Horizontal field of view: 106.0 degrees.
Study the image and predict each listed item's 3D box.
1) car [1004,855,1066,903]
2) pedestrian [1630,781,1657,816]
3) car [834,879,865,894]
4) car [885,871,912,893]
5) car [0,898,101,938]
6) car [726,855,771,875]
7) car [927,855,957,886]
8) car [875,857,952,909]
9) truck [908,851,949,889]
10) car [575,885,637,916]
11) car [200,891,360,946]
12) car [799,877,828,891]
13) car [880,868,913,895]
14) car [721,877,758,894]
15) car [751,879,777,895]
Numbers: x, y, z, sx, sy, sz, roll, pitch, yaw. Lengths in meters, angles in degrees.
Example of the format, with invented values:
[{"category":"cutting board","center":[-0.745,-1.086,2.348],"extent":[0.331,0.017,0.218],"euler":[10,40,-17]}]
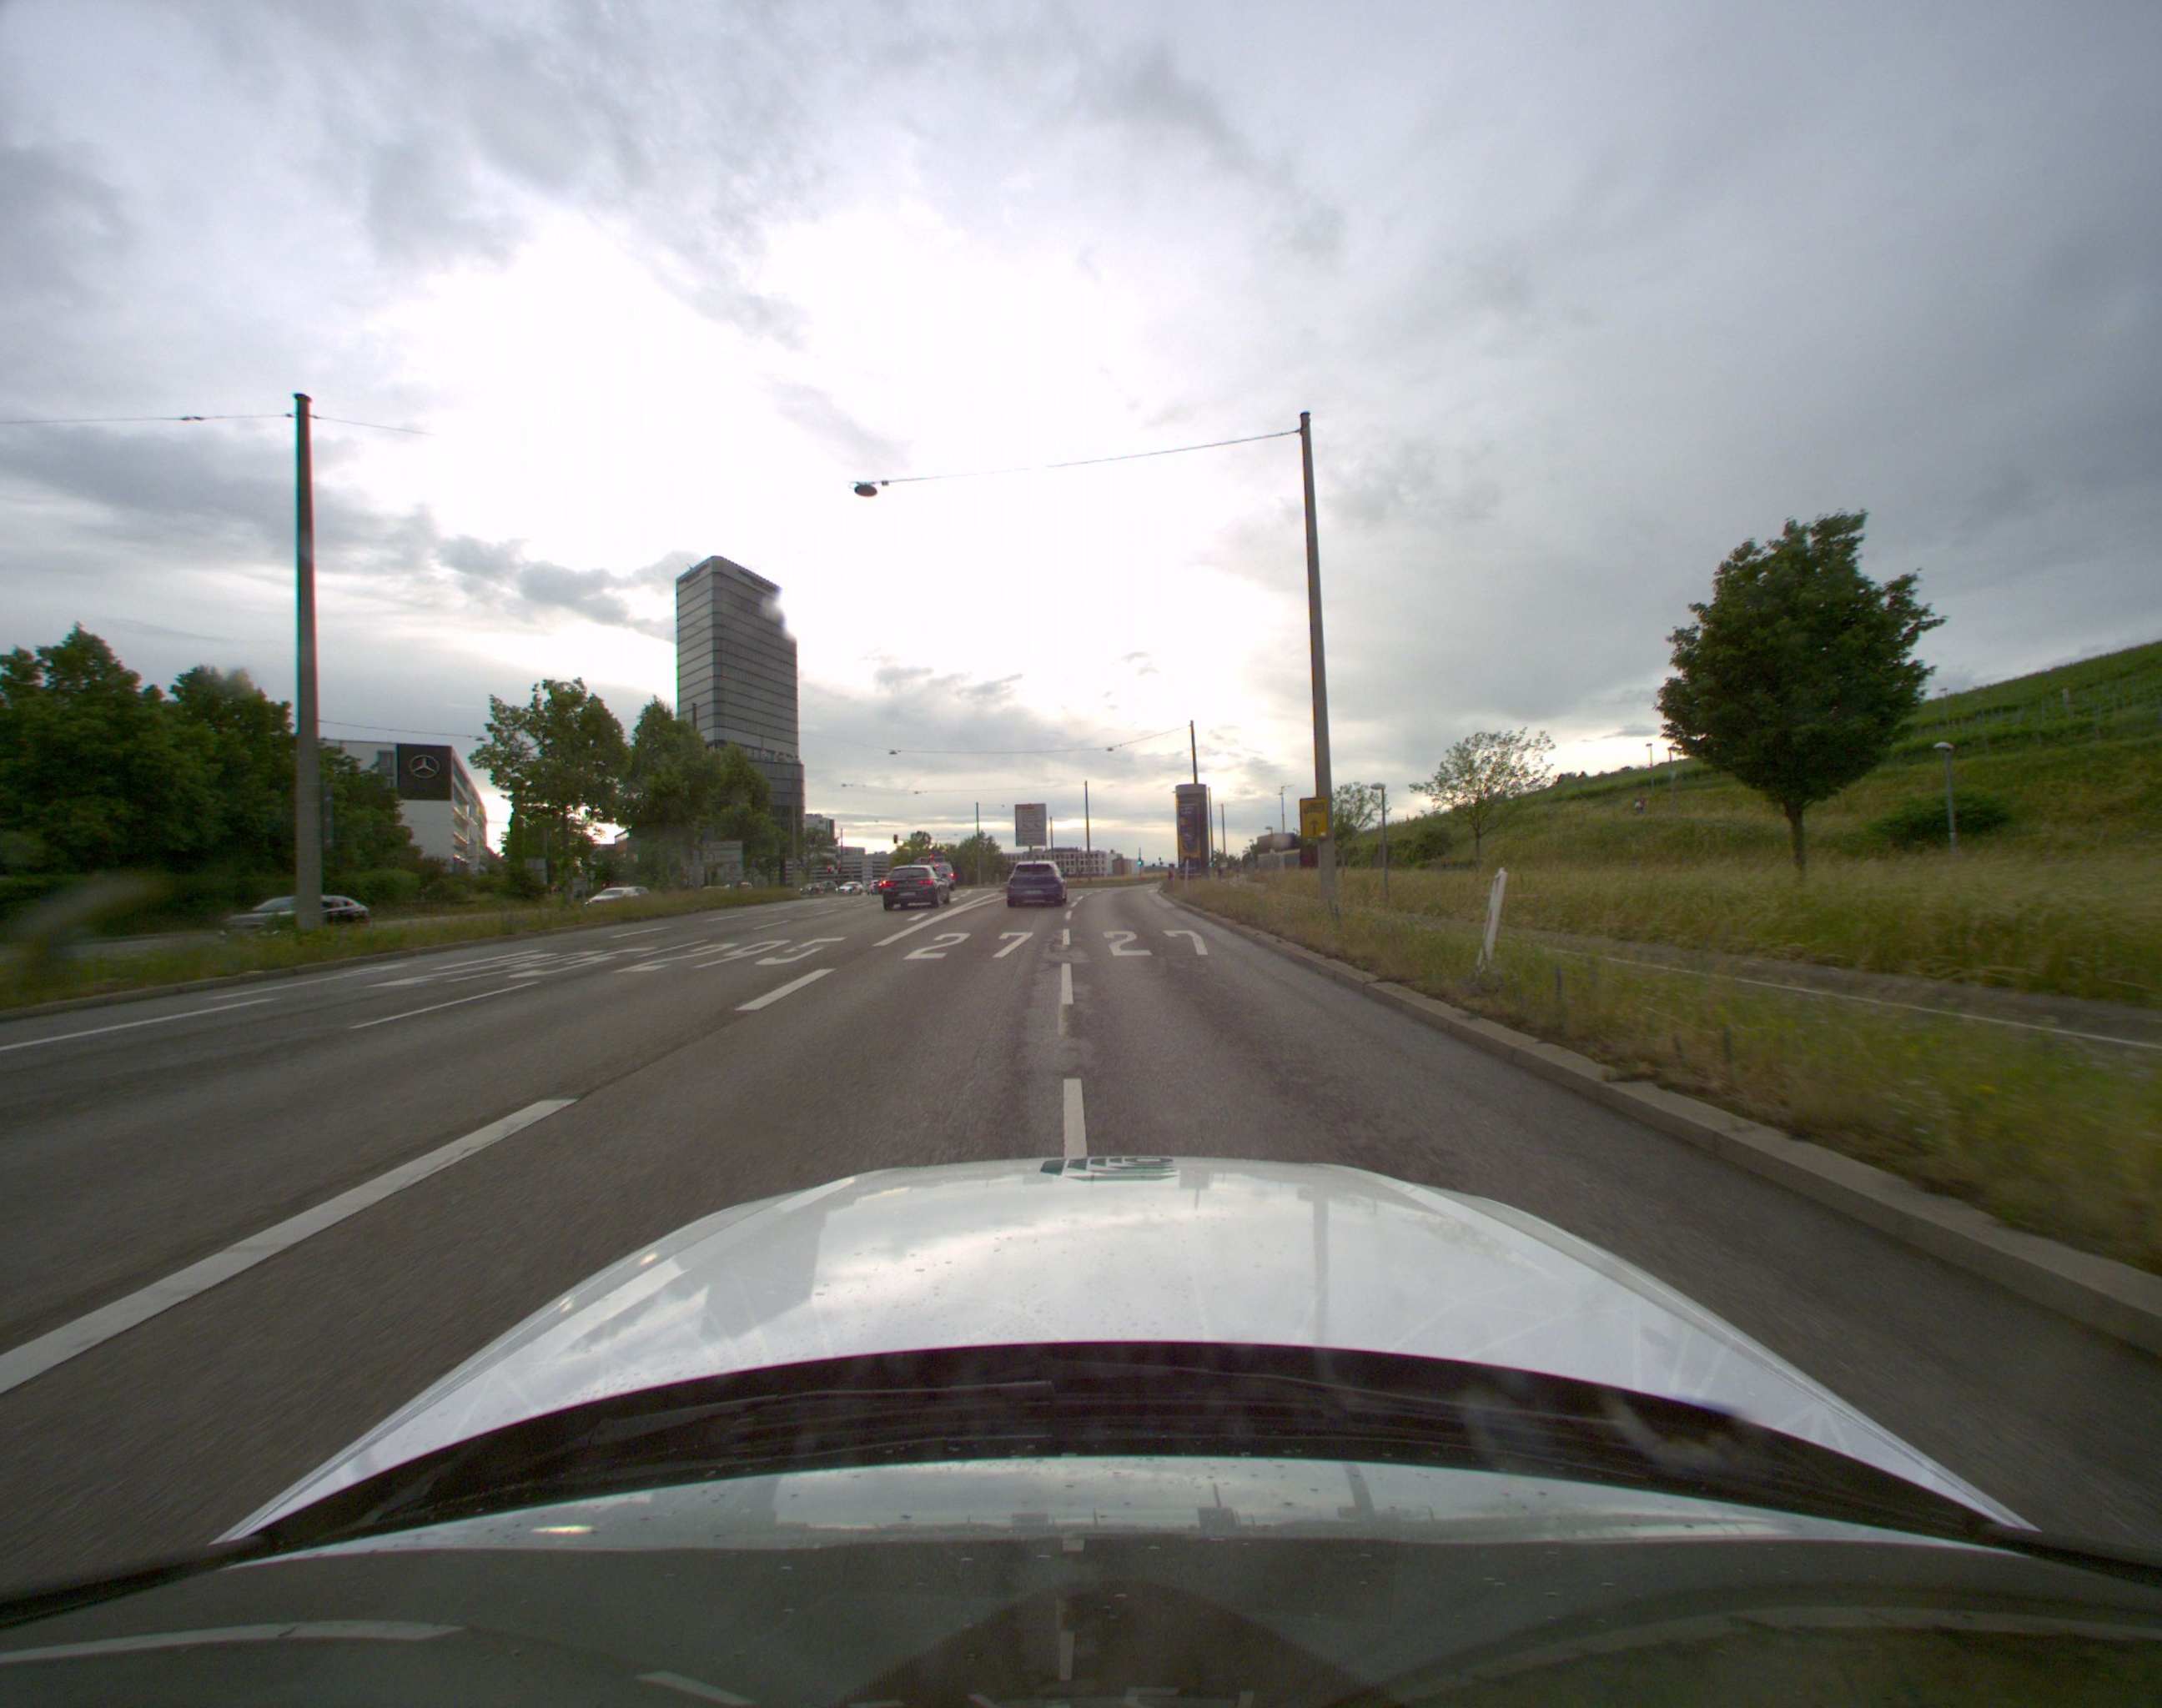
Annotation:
[{"category":"car","center":[-1.456,0.775,26.993],"extent":[1.832,1.393,3.999],"euler":[0,1,0]},{"category":"pedestrian","center":[33.386,-3.277,48.311],"extent":[0.784,2.013,1.044],"euler":[-4,1,-34]},{"category":"car","center":[-28.413,3.944,100.026],"extent":[1.882,1.658,4.616],"euler":[-2,-1,8]},{"category":"car","center":[-18.952,2.875,84.585],"extent":[2.002,2.013,3.971],"euler":[-4,1,-22]},{"category":"car","center":[-62.303,3.822,48.958],"extent":[1.990,2.013,3.993],"euler":[-2,0,-5]},{"category":"car","center":[-30.397,0.984,74.572],"extent":[1.885,1.658,4.610],"euler":[-2,0,3]},{"category":"car","center":[-9.745,1.175,57.197],"extent":[1.904,1.973,5.075],"euler":[-3,-1,-9]},{"category":"car","center":[-5.554,0.921,27.527],"extent":[1.864,1.461,3.973],"euler":[-2,2,-2]},{"category":"truck","center":[-13.802,1.471,73.316],"extent":[2.674,3.220,6.506],"euler":[-1,-1,-19]},{"category":"car","center":[-31.743,3.058,54.592],"extent":[1.994,1.770,4.853],"euler":[-2,0,-10]},{"category":"car","center":[-25.086,1.971,25.708],"extent":[1.592,1.360,3.670],"euler":[0,2,-5]},{"category":"car","center":[-32.792,3.677,100.037],"extent":[1.923,1.484,4.580],"euler":[-2,-1,1]},{"category":"car","center":[-12.088,1.781,53.085],"extent":[1.908,1.564,3.979],"euler":[-3,-1,-15]},{"category":"car","center":[-37.266,3.398,89.072],"extent":[1.987,1.671,4.744],"euler":[-1,-1,0]},{"category":"car","center":[-39.715,4.112,102.034],"extent":[1.589,1.815,3.539],"euler":[-2,0,4]}]
